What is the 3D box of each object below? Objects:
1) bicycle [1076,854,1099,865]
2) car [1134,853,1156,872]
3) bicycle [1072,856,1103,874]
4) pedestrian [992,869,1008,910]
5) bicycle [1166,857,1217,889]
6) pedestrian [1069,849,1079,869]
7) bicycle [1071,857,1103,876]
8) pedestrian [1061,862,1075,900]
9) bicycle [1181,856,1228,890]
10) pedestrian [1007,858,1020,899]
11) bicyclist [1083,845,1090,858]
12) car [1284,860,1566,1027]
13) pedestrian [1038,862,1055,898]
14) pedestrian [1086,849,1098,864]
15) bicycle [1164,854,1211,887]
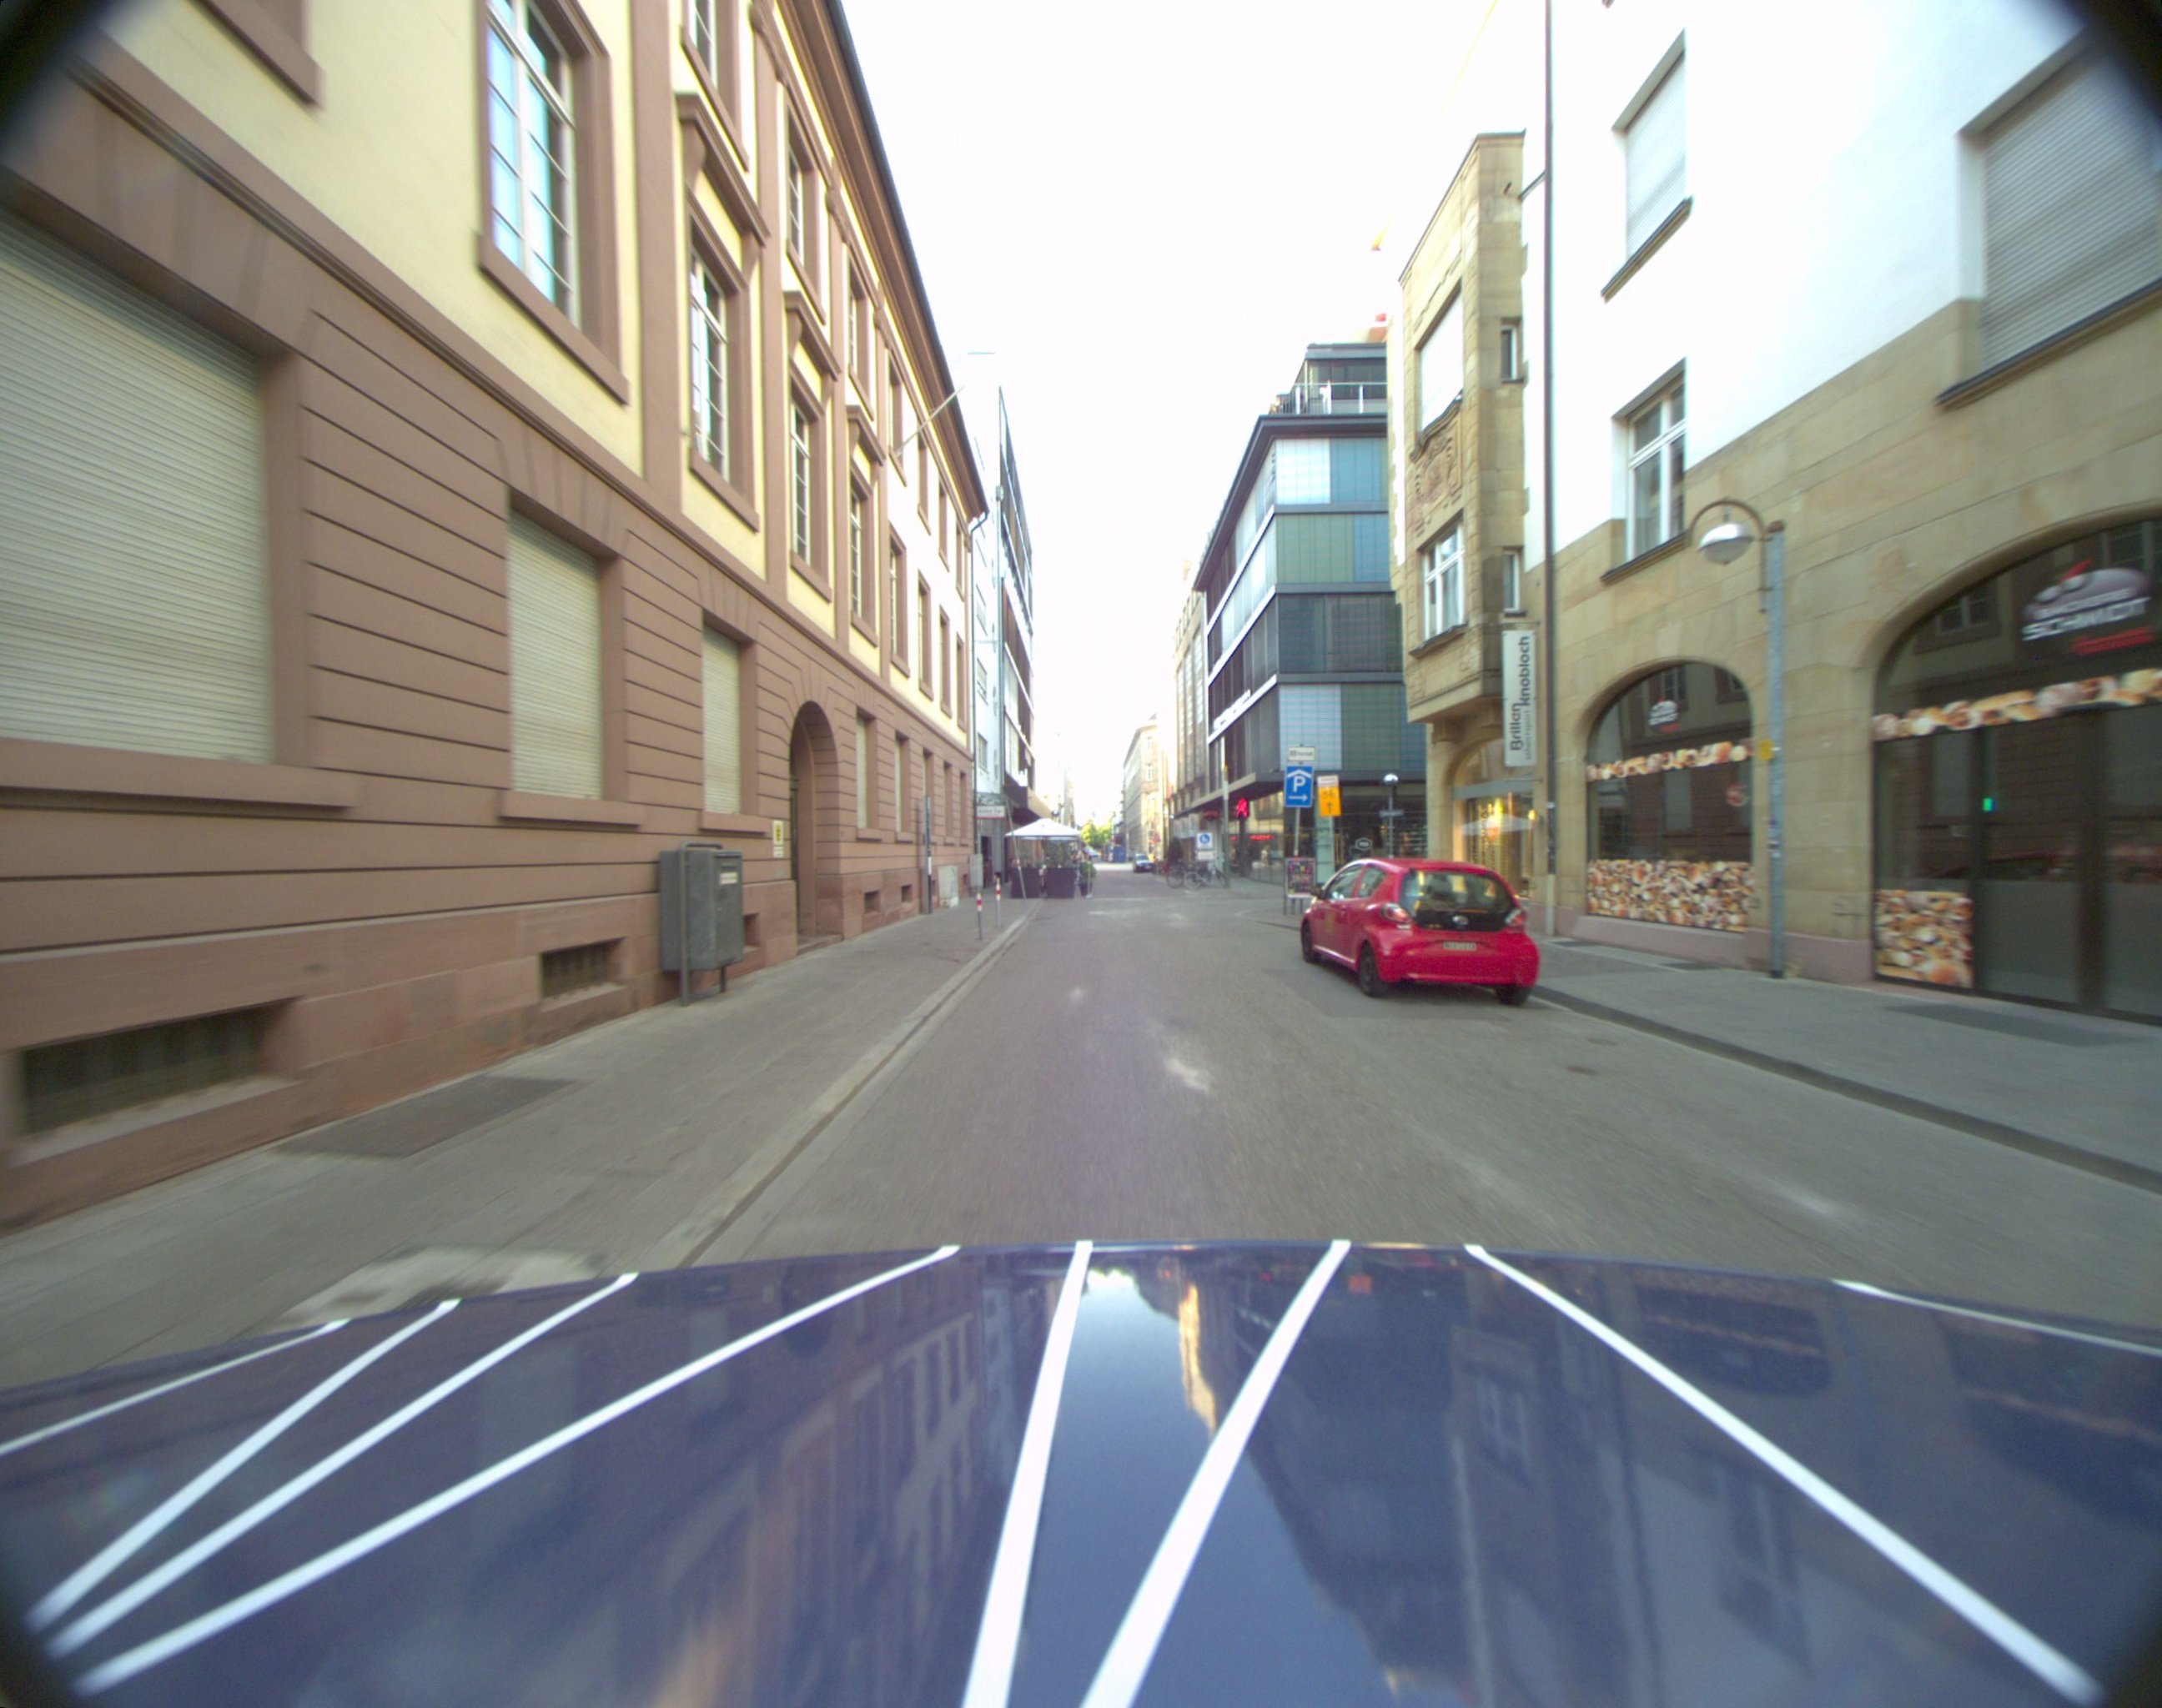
[{"bbox_3d":[0.726,0.592,81.112,2.341,1.182,0.517,-2,1,-16],"label":"bicycle"},{"bbox_3d":[4.849,0.614,57.807,1.602,1.414,3.605,-1,0,5],"label":"car"},{"bbox_3d":[0.459,0.753,51.500,2.038,1.161,0.619,2,1,0],"label":"bicycle"},{"bbox_3d":[-3.578,1.562,33.703,0.640,1.762,0.602,-1,1,-4],"label":"pedestrian"},{"bbox_3d":[4.459,0.754,30.773,1.902,1.174,0.517,-3,-1,-1],"label":"bicycle"},{"bbox_3d":[-0.708,0.511,76.899,0.804,2.002,0.878,-2,1,-6],"label":"pedestrian"},{"bbox_3d":[0.384,0.812,50.008,2.038,1.161,0.665,2,1,0],"label":"bicycle"},{"bbox_3d":[-0.422,0.877,24.772,0.400,1.206,0.383,-1,1,-9],"label":"pedestrian"},{"bbox_3d":[4.754,0.731,29.194,1.669,1.197,0.509,-3,1,0],"label":"bicycle"},{"bbox_3d":[-2.205,0.789,24.808,0.363,1.298,0.494,-1,1,-13],"label":"pedestrian"},{"bbox_3d":[0.600,-0.237,81.034,0.582,1.393,0.517,-2,1,-15],"label":"bicyclist"},{"bbox_3d":[3.738,0.852,9.073,1.661,1.461,3.931,0,1,2],"label":"car"},{"bbox_3d":[-1.373,1.022,30.367,0.575,1.412,0.868,-1,1,2],"label":"pedestrian"},{"bbox_3d":[1.226,0.277,83.828,0.917,1.563,0.995,0,1,45],"label":"pedestrian"},{"bbox_3d":[4.667,0.713,33.415,1.902,1.262,0.538,-5,1,1],"label":"bicycle"}]
